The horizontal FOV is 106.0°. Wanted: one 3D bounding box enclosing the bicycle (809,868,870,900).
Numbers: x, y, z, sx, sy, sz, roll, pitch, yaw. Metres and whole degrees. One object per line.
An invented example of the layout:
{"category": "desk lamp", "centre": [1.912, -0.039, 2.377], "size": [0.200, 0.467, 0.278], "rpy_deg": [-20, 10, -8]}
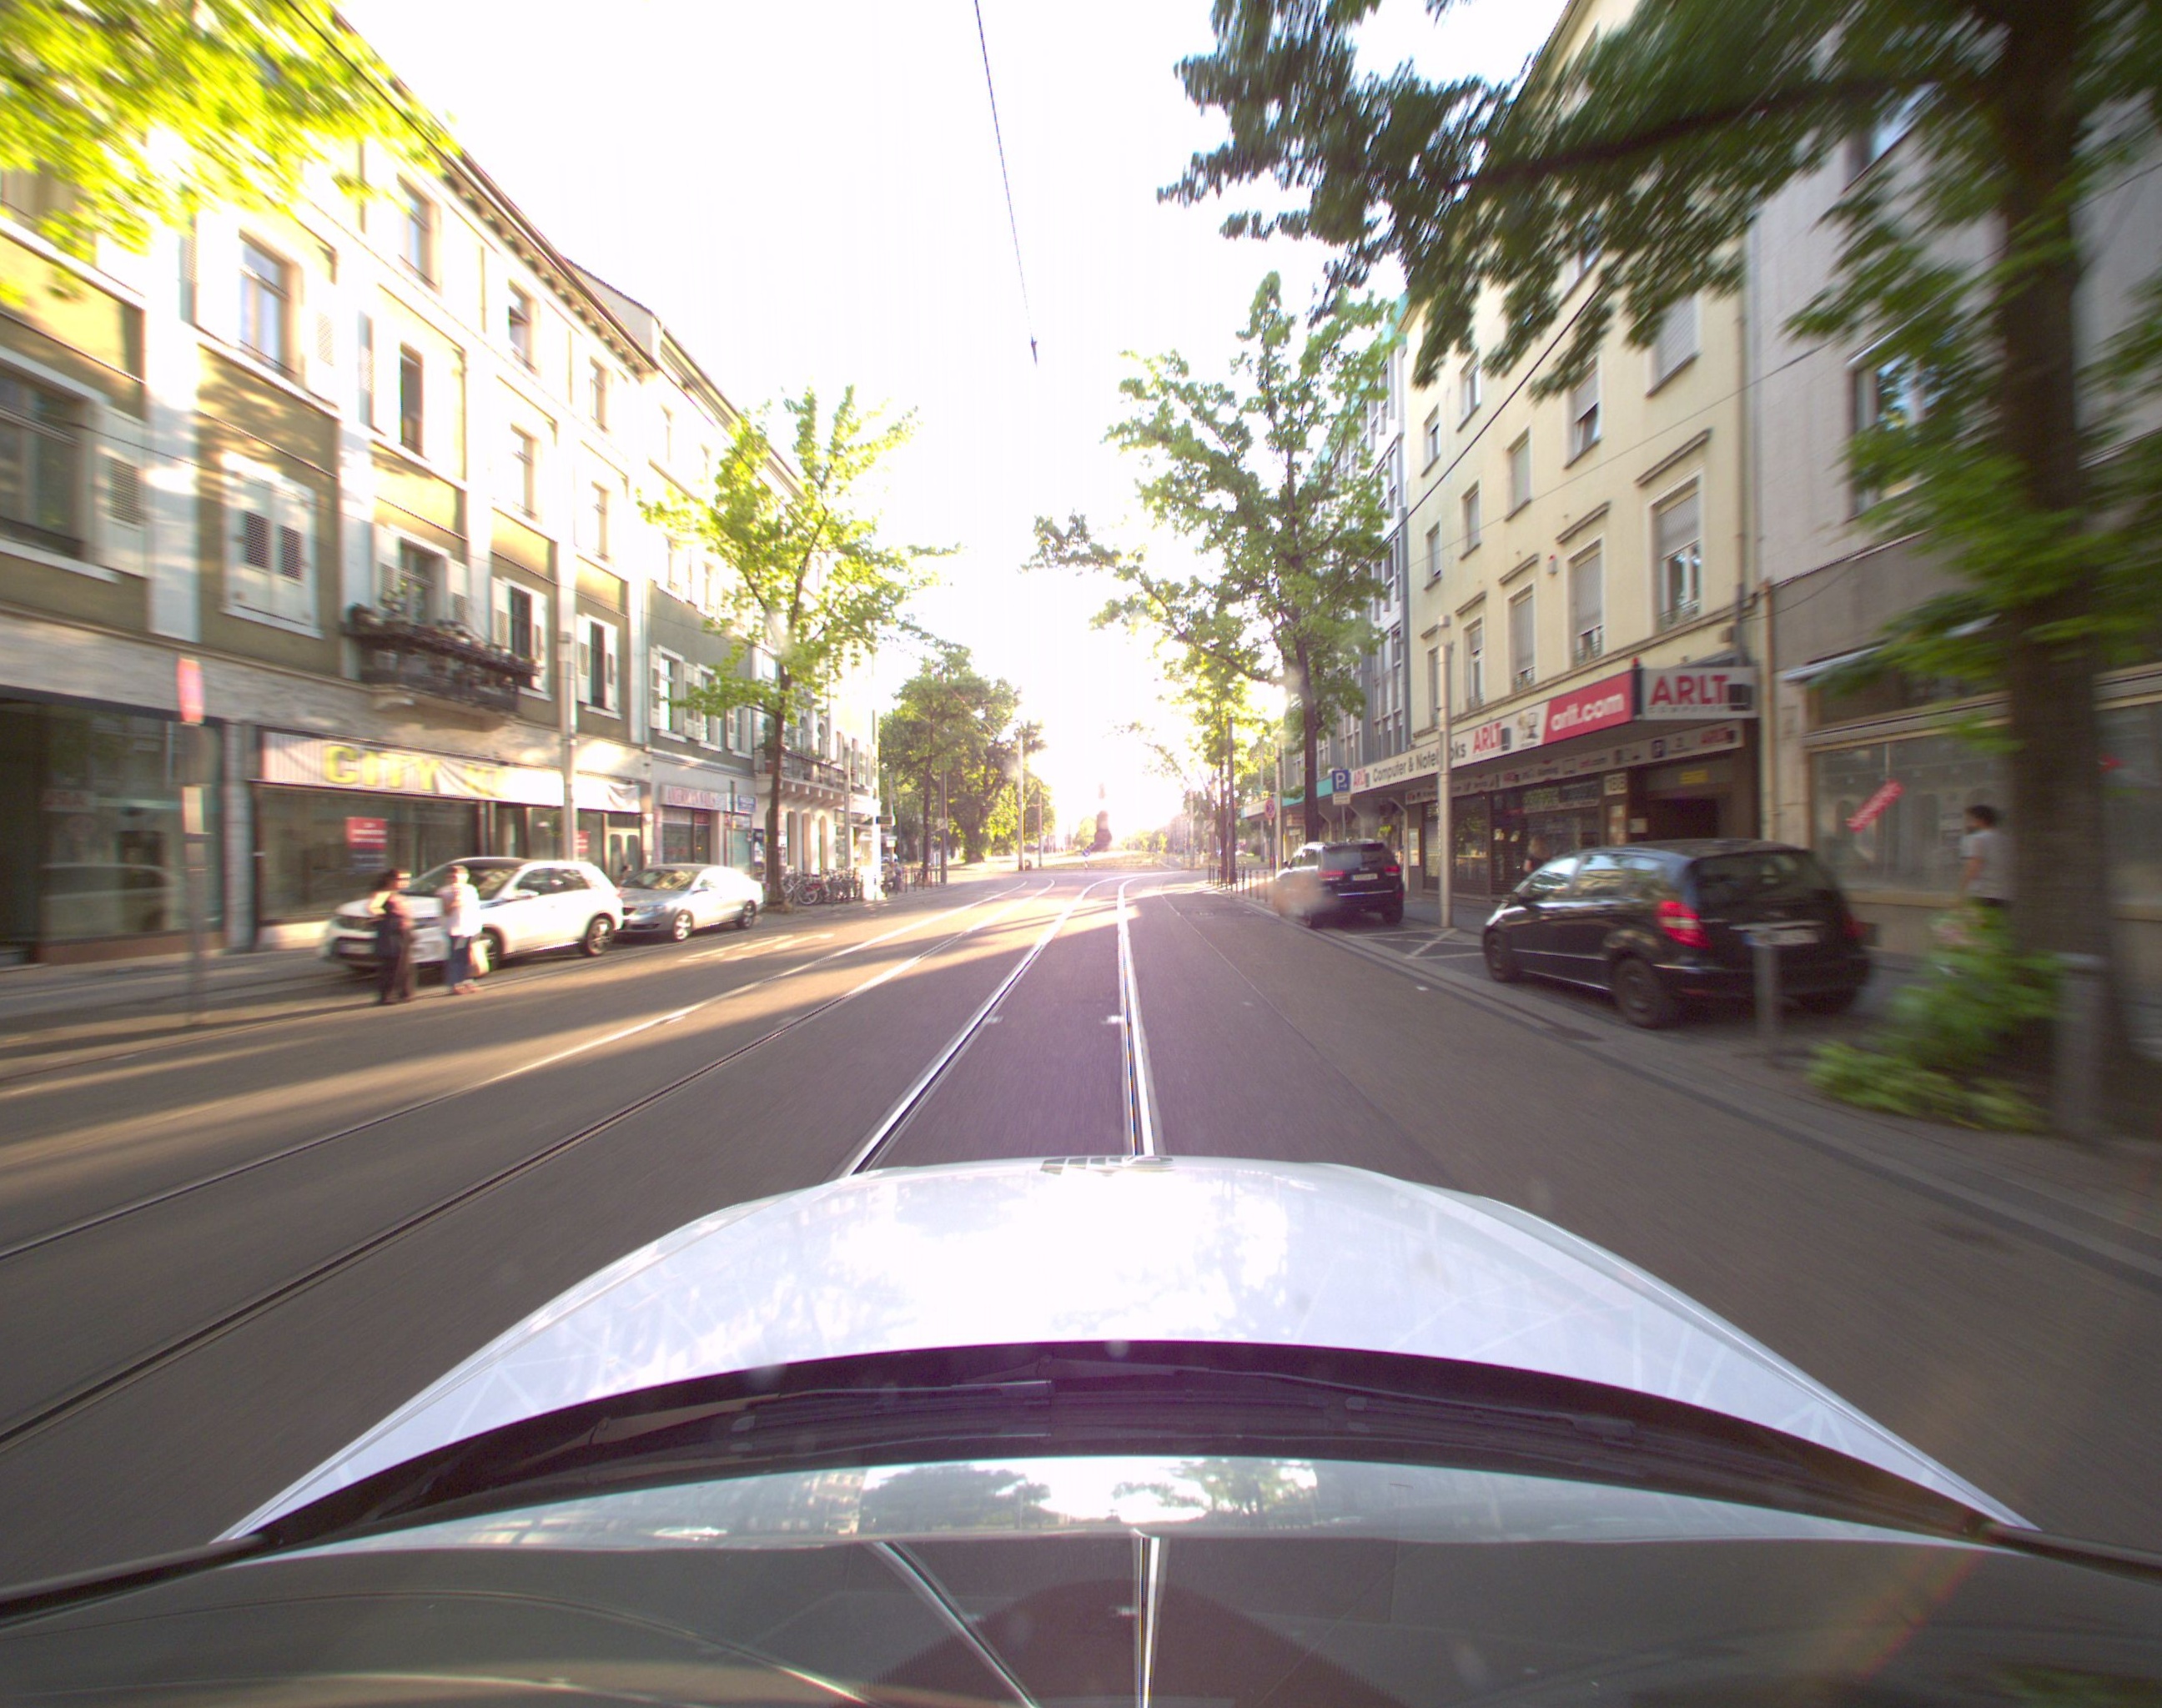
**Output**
{"category": "bicycle", "centre": [-8.657, 1.069, 29.207], "size": [2.014, 1.105, 0.501], "rpy_deg": [1, -1, 4]}

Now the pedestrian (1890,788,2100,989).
{"category": "pedestrian", "centre": [8.688, 0.310, 7.797], "size": [0.855, 1.753, 0.933], "rpy_deg": [-4, 0, 2]}

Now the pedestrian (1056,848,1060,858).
{"category": "pedestrian", "centre": [-4.068, -0.195, 143.471], "size": [0.768, 1.606, 0.637], "rpy_deg": [-1, 0, -4]}

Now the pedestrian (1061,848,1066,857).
{"category": "pedestrian", "centre": [-3.134, -0.210, 143.046], "size": [0.768, 1.606, 0.637], "rpy_deg": [-1, 0, -4]}

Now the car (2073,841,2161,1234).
{"category": "car", "centre": [4.990, 0.662, 0.973], "size": [1.985, 1.498, 4.684], "rpy_deg": [-4, 0, 3]}

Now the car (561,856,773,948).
{"category": "car", "centre": [-8.511, 0.886, 17.337], "size": [1.828, 1.580, 4.706], "rpy_deg": [3, 0, 3]}

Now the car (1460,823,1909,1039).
{"category": "car", "centre": [5.722, 0.611, 8.452], "size": [1.769, 1.591, 3.893], "rpy_deg": [-4, 0, 2]}

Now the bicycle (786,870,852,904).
{"category": "bicycle", "centre": [-8.725, 1.091, 27.148], "size": [2.032, 1.105, 0.497], "rpy_deg": [1, -1, -23]}

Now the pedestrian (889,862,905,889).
{"category": "pedestrian", "centre": [-8.373, 0.987, 37.144], "size": [0.589, 1.194, 0.642], "rpy_deg": [0, 0, 0]}

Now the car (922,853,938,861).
{"category": "car", "centre": [-27.714, 0.574, 149.915], "size": [1.868, 1.420, 3.931], "rpy_deg": [-1, 0, 5]}

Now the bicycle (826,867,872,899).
{"category": "bicycle", "centre": [-8.570, 1.060, 30.077], "size": [2.004, 1.105, 0.504], "rpy_deg": [0, -1, 37]}

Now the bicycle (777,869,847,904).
{"category": "bicycle", "centre": [-8.764, 1.043, 26.517], "size": [2.117, 1.105, 0.497], "rpy_deg": [1, -1, -23]}

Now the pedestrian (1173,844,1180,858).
{"category": "pedestrian", "centre": [11.188, -0.314, 95.408], "size": [0.631, 1.606, 0.775], "rpy_deg": [-1, 0, 15]}

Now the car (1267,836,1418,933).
{"category": "car", "centre": [5.661, 0.591, 18.312], "size": [1.930, 1.759, 4.682], "rpy_deg": [-4, 0, 2]}

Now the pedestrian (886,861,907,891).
{"category": "pedestrian", "centre": [-8.042, 0.940, 35.491], "size": [0.725, 1.290, 0.856], "rpy_deg": [0, 0, 0]}

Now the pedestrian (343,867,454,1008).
{"category": "pedestrian", "centre": [-7.676, 0.906, 9.183], "size": [0.617, 1.509, 0.730], "rpy_deg": [-1, -1, 3]}

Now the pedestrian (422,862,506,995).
{"category": "pedestrian", "centre": [-7.591, 0.892, 10.039], "size": [0.519, 1.569, 0.634], "rpy_deg": [-1, -1, 3]}

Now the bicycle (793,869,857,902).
{"category": "bicycle", "centre": [-8.700, 1.076, 27.741], "size": [2.032, 1.105, 0.497], "rpy_deg": [1, -1, -23]}

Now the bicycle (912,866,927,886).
{"category": "bicycle", "centre": [-8.098, 1.111, 40.803], "size": [0.335, 0.946, 1.511], "rpy_deg": [-1, 0, 3]}

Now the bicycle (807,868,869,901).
{"category": "bicycle", "centre": [-8.522, 1.071, 28.616], "size": [2.014, 1.105, 0.501], "rpy_deg": [1, -1, 4]}

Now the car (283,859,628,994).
{"category": "car", "centre": [-9.039, 0.922, 12.330], "size": [1.828, 1.580, 4.119], "rpy_deg": [3, 0, 3]}

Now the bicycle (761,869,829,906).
{"category": "bicycle", "centre": [-8.998, 1.052, 25.638], "size": [1.953, 1.105, 0.563], "rpy_deg": [1, -1, -23]}

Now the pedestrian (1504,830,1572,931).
{"category": "pedestrian", "centre": [7.925, 0.443, 14.145], "size": [0.641, 1.670, 0.787], "rpy_deg": [-4, 0, 2]}
